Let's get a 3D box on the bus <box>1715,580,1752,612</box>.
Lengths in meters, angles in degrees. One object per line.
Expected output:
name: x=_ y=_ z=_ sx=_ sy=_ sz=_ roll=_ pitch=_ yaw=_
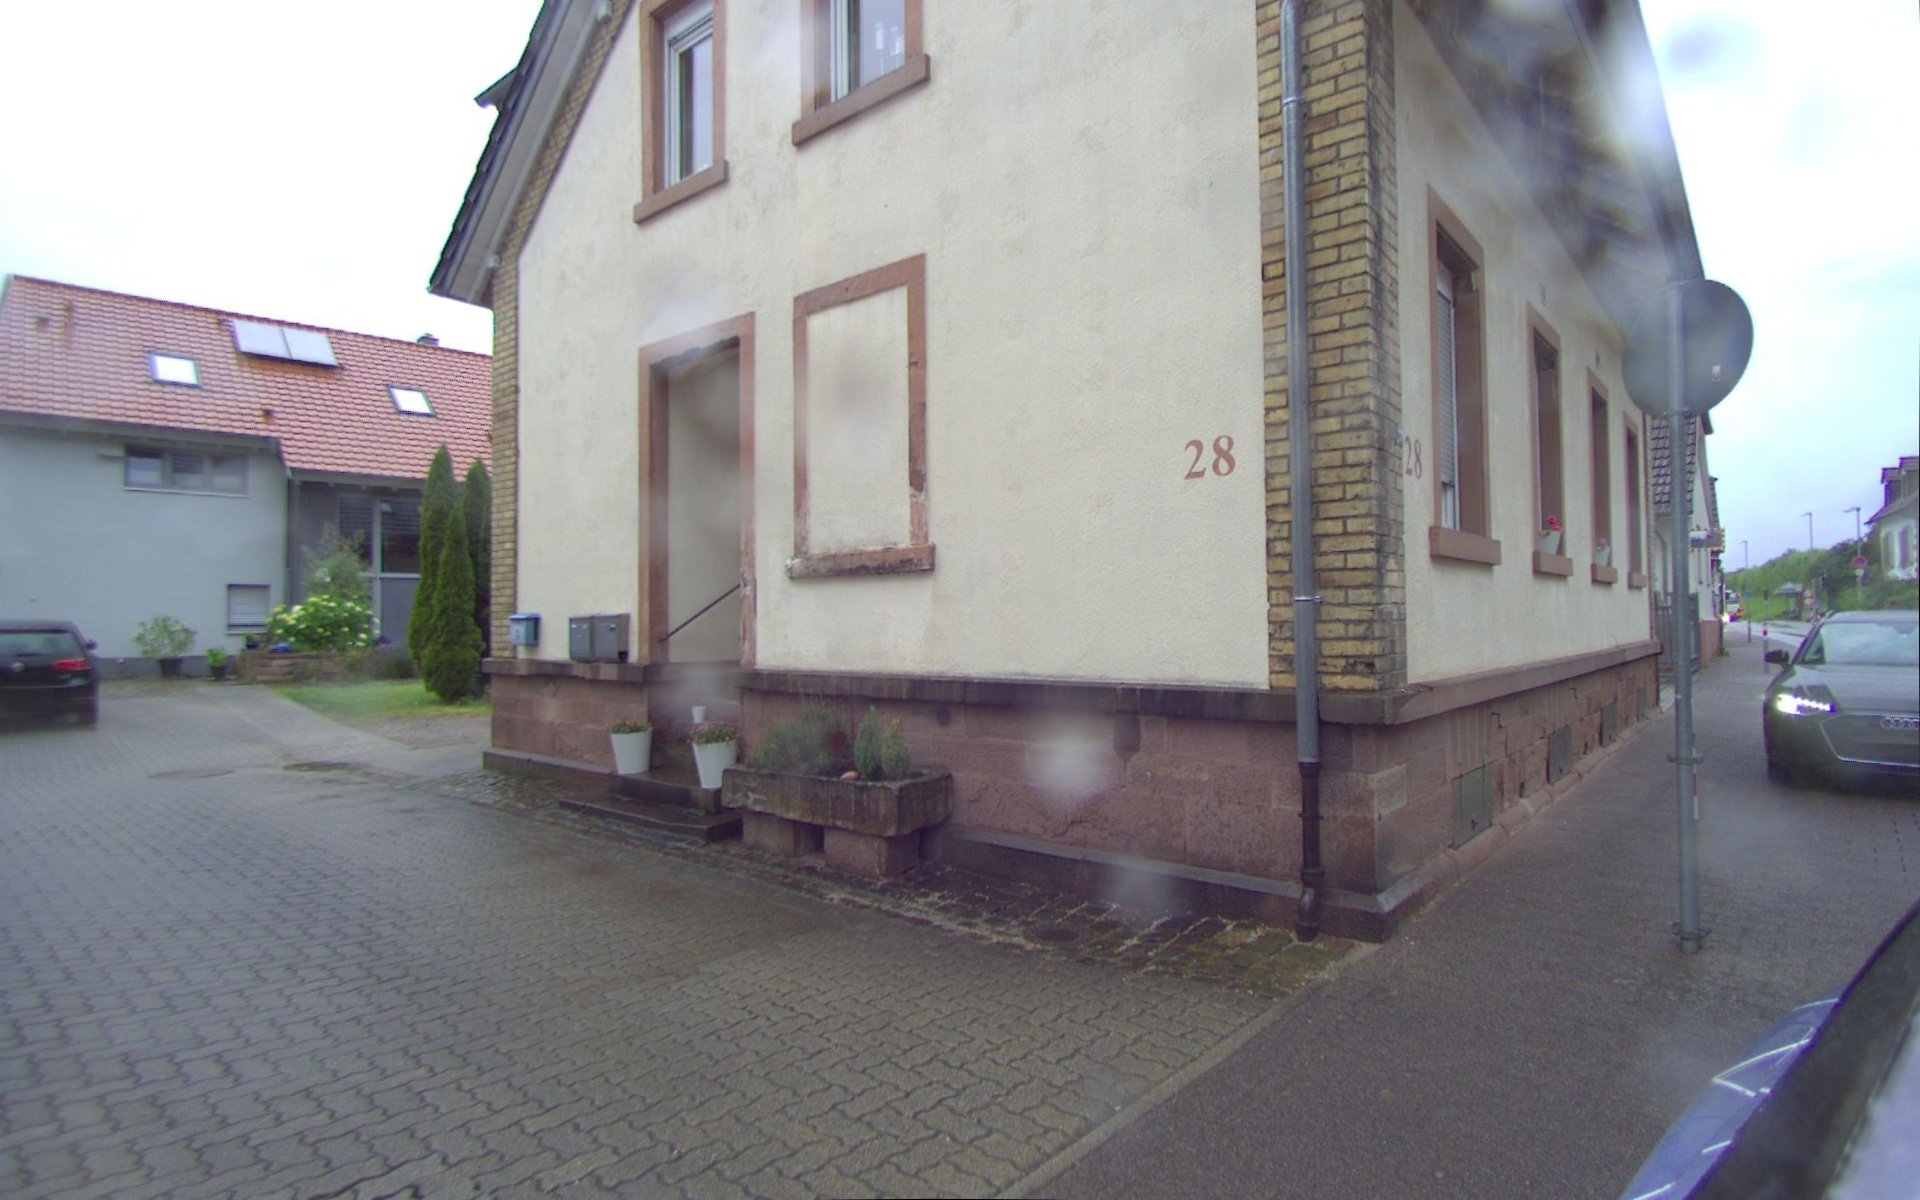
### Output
bus: x=79.853 y=-0.366 z=104.563 sx=2.799 sy=2.977 sz=11.779 roll=-3 pitch=-2 yaw=37

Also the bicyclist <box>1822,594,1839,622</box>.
bicyclist: x=58.201 y=0.547 z=67.699 sx=0.653 sy=1.793 sz=0.695 roll=-3 pitch=-4 yaw=31

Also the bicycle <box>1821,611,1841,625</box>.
bicycle: x=58.244 y=1.230 z=67.674 sx=0.658 sy=0.882 sz=1.913 roll=-3 pitch=-4 yaw=31

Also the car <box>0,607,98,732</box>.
car: x=-13.828 y=0.938 z=14.913 sx=1.666 sy=1.480 sz=3.569 roll=1 pitch=2 yaw=-41

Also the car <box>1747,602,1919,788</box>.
car: x=8.422 y=0.755 z=9.079 sx=1.774 sy=1.374 sz=4.123 roll=-4 pitch=-4 yaw=42

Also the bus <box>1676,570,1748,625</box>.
bus: x=52.544 y=-0.157 z=71.000 sx=3.420 sy=3.455 sz=13.697 roll=-2 pitch=-1 yaw=35
